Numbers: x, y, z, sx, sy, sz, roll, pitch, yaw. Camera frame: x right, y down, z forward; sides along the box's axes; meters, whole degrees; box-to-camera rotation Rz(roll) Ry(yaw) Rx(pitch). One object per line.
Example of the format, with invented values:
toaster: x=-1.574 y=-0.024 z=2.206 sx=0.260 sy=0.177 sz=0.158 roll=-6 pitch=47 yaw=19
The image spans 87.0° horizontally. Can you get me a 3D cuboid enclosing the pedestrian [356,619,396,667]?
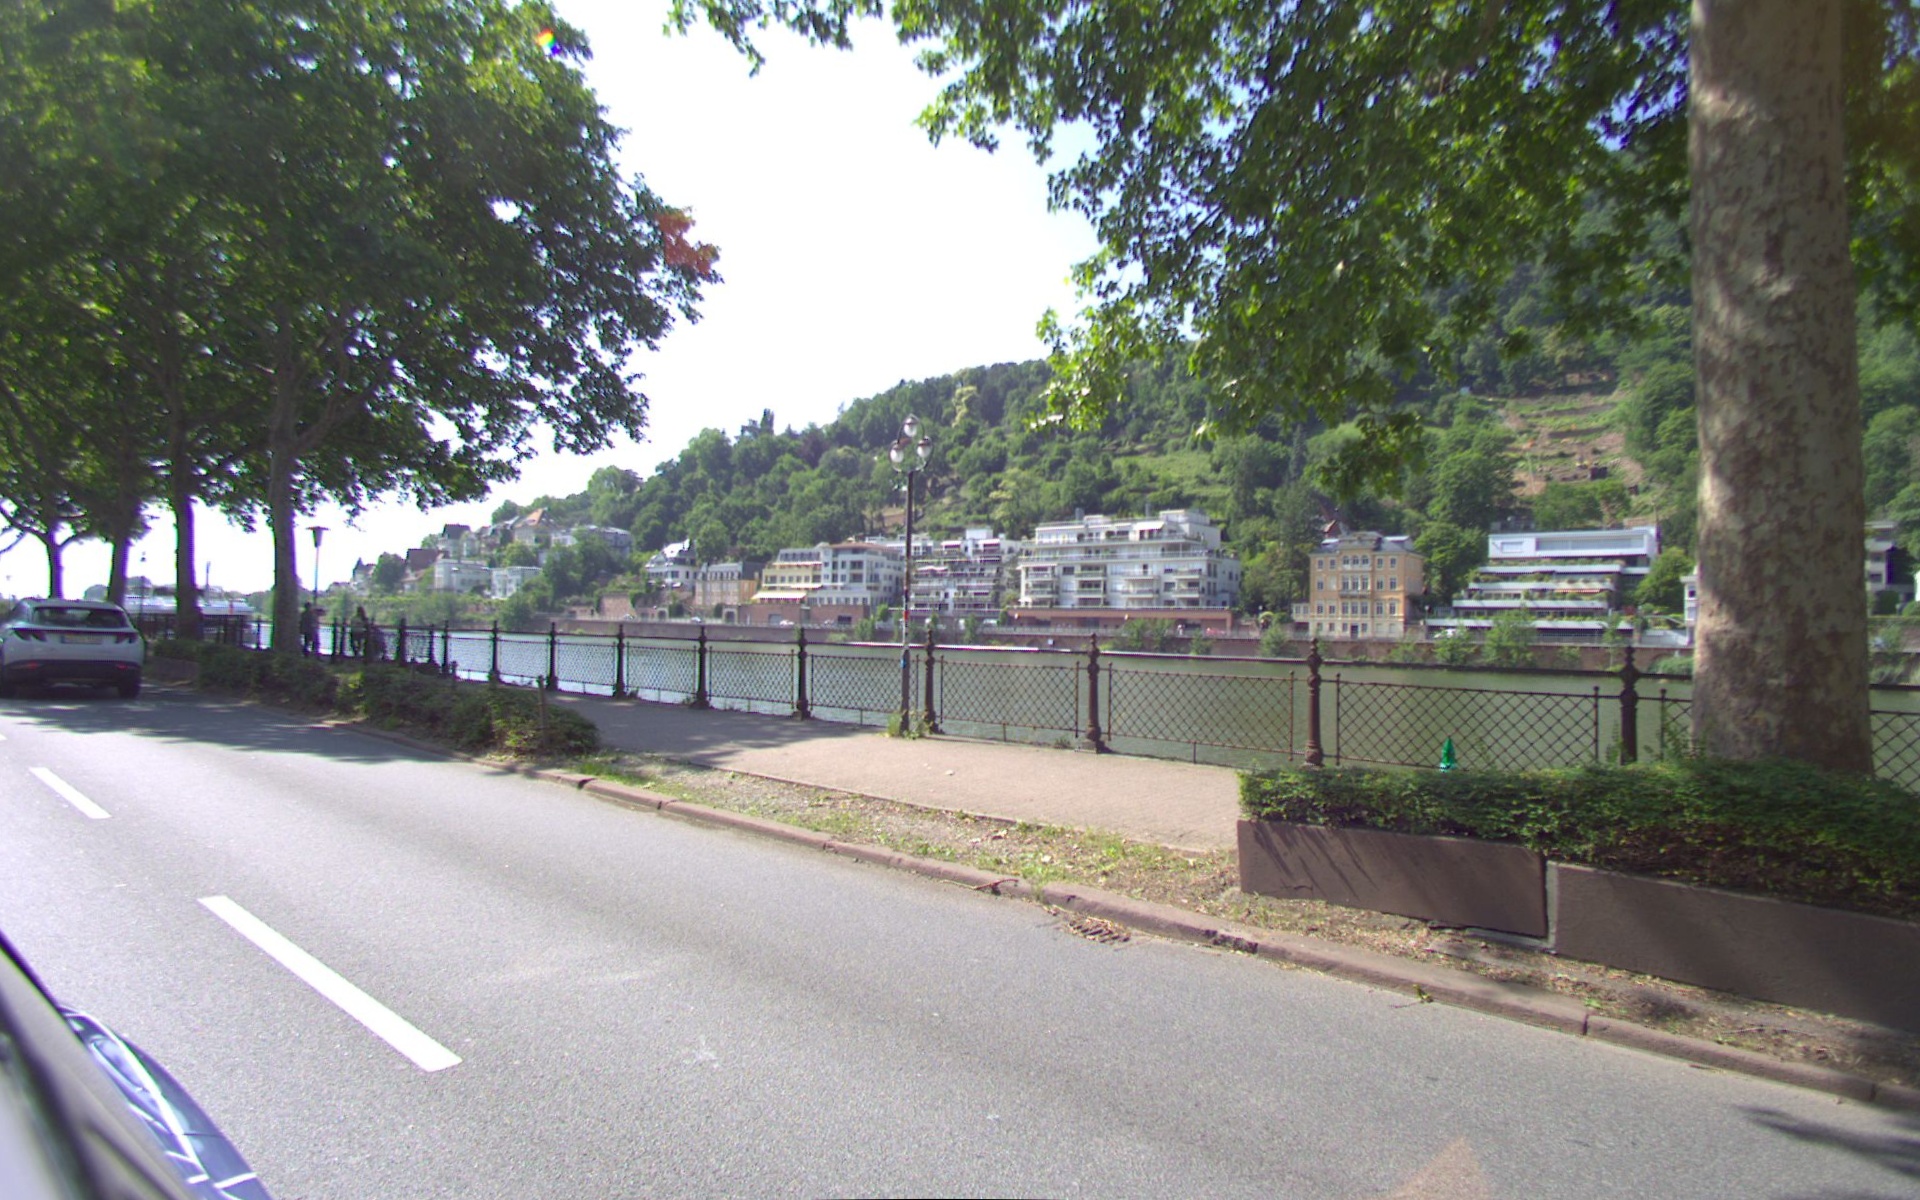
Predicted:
pedestrian: x=-17.341 y=1.282 z=30.042 sx=0.770 sy=1.398 sz=0.758 roll=0 pitch=-3 yaw=40

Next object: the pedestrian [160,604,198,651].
pedestrian: x=-34.371 y=1.213 z=44.535 sx=1.032 sy=2.029 sz=1.038 roll=0 pitch=0 yaw=-19

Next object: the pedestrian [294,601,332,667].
pedestrian: x=-18.995 y=0.999 z=29.715 sx=0.756 sy=1.915 sz=0.772 roll=4 pitch=-3 yaw=-41

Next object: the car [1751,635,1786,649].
car: x=121.100 y=6.235 z=151.583 sx=3.998 sy=2.029 sz=1.973 roll=-1 pitch=-1 yaw=41

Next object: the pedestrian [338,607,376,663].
pedestrian: x=-19.756 y=1.141 z=33.150 sx=0.829 sy=1.771 sz=0.767 roll=-1 pitch=-4 yaw=40

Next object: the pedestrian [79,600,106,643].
pedestrian: x=-38.839 y=0.957 z=45.300 sx=0.929 sy=1.863 sz=0.796 roll=0 pitch=0 yaw=41

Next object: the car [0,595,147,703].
car: x=-15.768 y=0.822 z=17.641 sx=3.998 sy=1.673 sz=1.750 roll=0 pitch=-4 yaw=42
